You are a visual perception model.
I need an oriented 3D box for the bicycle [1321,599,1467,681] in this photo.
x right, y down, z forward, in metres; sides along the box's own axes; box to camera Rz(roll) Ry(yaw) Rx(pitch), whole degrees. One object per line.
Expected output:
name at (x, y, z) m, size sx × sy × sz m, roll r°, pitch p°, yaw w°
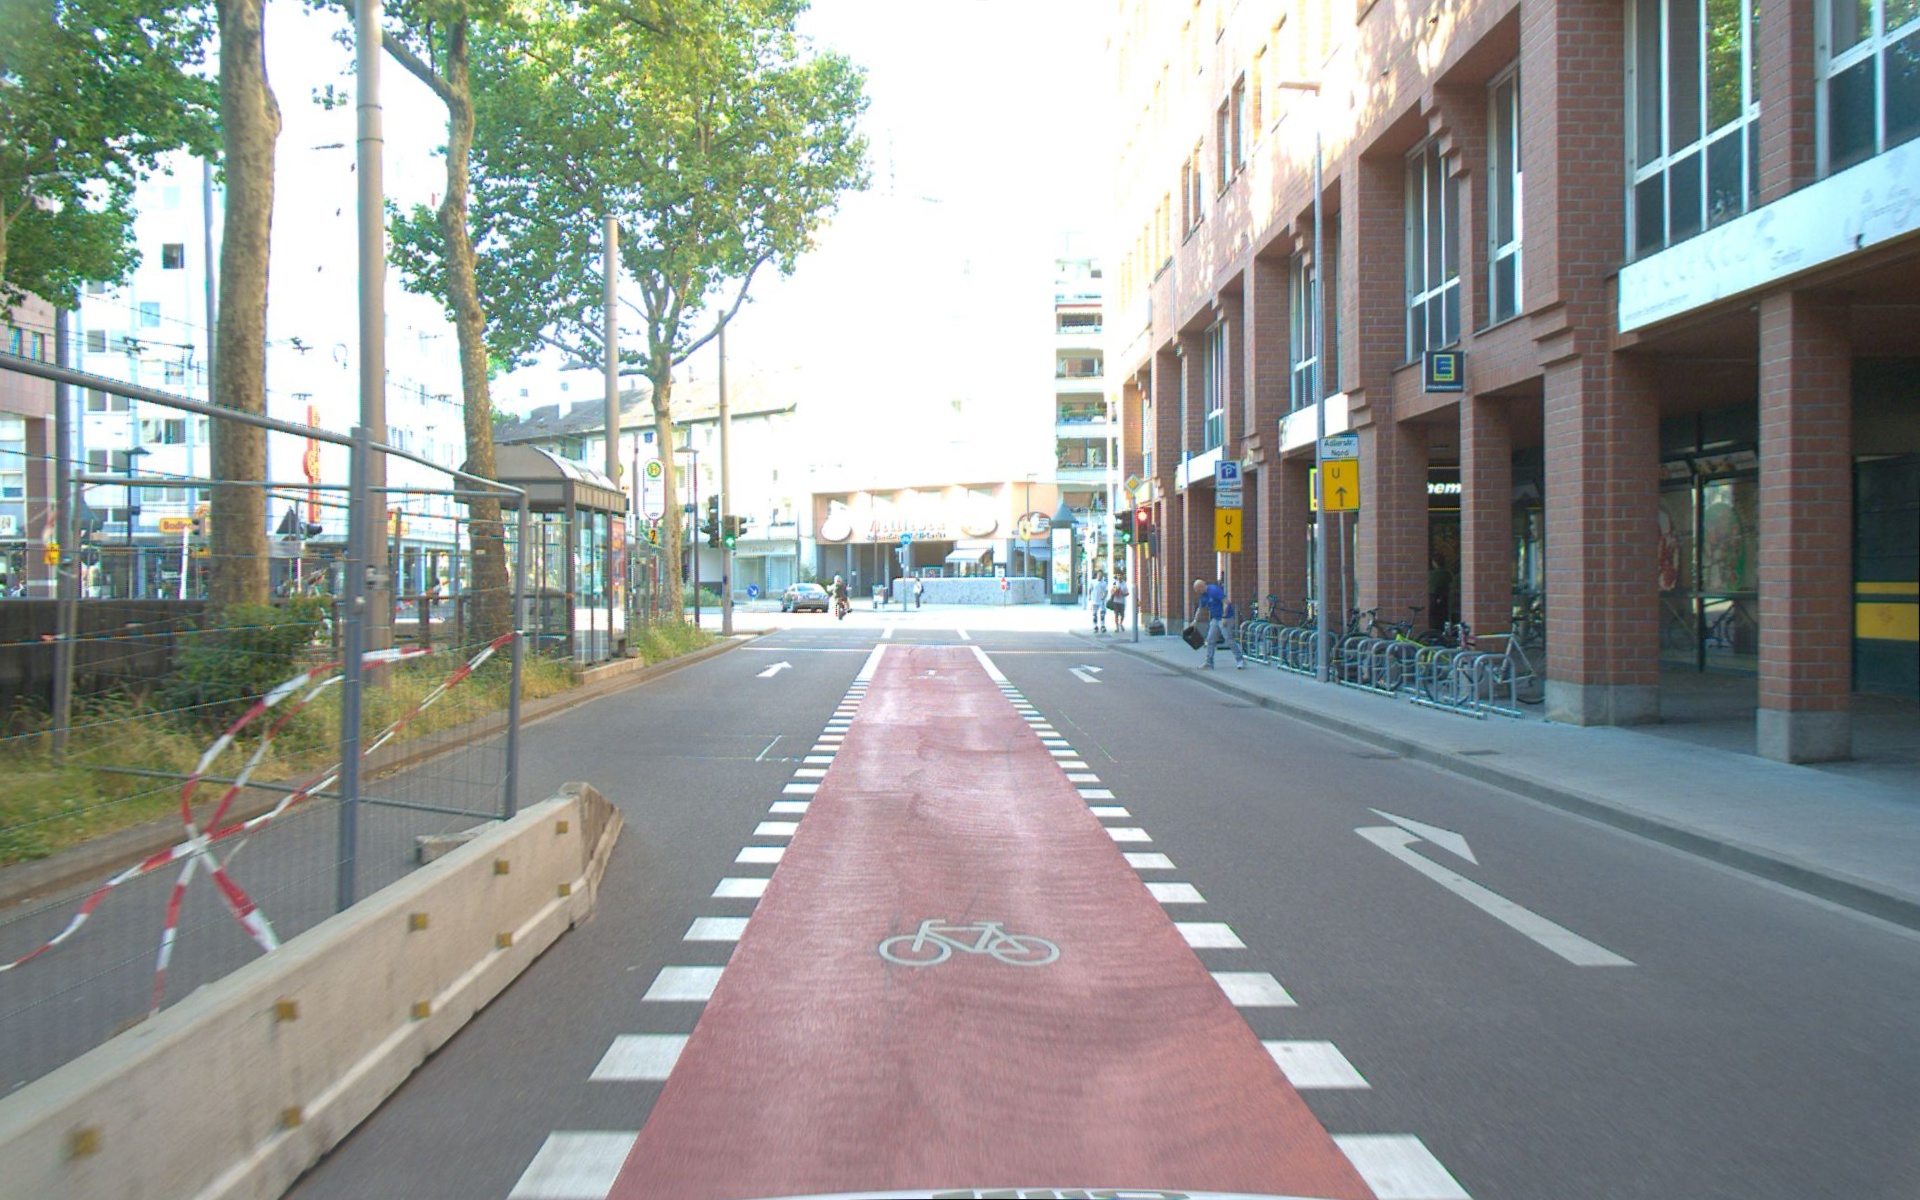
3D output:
bicycle at (6.145, 0.560, 23.459) m, size 1.893 × 1.075 × 0.573 m, roll -2°, pitch 0°, yaw 1°

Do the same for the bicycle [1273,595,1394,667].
bicycle at (6.081, 0.499, 26.950) m, size 1.853 × 1.138 × 0.474 m, roll -1°, pitch 0°, yaw -2°

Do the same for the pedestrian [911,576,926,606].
pedestrian at (-2.173, -0.472, 86.894) m, size 0.537 × 1.611 × 0.548 m, roll -1°, pitch 1°, yaw -44°

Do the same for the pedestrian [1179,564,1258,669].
pedestrian at (4.428, 0.266, 28.393) m, size 1.170 × 1.726 × 0.885 m, roll -2°, pitch 0°, yaw 1°

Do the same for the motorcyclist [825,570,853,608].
motorcyclist at (-4.456, -0.401, 61.069) m, size 0.951 × 1.370 × 1.137 m, roll 1°, pitch 0°, yaw -2°

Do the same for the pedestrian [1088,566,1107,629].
pedestrian at (4.002, -0.075, 48.155) m, size 0.466 × 1.824 × 0.541 m, roll 0°, pitch 0°, yaw -2°

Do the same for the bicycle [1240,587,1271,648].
bicycle at (6.036, 0.340, 33.831) m, size 0.332 × 1.204 × 1.678 m, roll 0°, pitch 1°, yaw 0°

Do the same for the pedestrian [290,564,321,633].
pedestrian at (-16.398, -0.040, 41.441) m, size 0.555 × 1.709 × 0.531 m, roll -1°, pitch 0°, yaw 0°

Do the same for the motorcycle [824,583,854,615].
motorcycle at (-4.453, -0.045, 61.025) m, size 0.953 × 1.151 × 2.804 m, roll 1°, pitch 0°, yaw -2°

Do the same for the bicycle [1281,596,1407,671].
bicycle at (6.067, 0.528, 26.152) m, size 1.853 × 1.138 × 0.550 m, roll -1°, pitch 0°, yaw -2°

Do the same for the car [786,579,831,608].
car at (-7.584, -0.336, 82.501) m, size 1.888 × 1.413 × 3.990 m, roll 0°, pitch 1°, yaw -10°

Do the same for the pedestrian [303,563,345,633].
pedestrian at (-16.302, -0.063, 42.407) m, size 0.762 × 1.764 × 0.848 m, roll -1°, pitch 0°, yaw -5°

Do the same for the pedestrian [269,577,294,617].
pedestrian at (-30.506, -0.135, 74.356) m, size 0.788 × 1.754 × 0.776 m, roll 0°, pitch 0°, yaw -1°

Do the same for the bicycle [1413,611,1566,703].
bicycle at (6.195, 0.663, 19.390) m, size 1.578 × 0.971 × 0.555 m, roll -3°, pitch 0°, yaw 0°

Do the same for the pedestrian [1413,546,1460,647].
pedestrian at (8.742, -0.066, 30.350) m, size 0.646 × 1.827 × 0.608 m, roll 0°, pitch 0°, yaw -6°

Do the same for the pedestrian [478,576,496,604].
pedestrian at (-29.889, -0.654, 104.551) m, size 0.762 × 1.754 × 0.803 m, roll 0°, pitch 0°, yaw 40°

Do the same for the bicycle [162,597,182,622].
bicycle at (-35.392, 0.404, 74.285) m, size 0.586 × 1.071 × 1.995 m, roll -1°, pitch 1°, yaw -19°

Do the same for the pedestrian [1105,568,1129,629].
pedestrian at (4.550, -0.034, 47.970) m, size 0.621 × 1.755 × 0.630 m, roll 0°, pitch 0°, yaw -2°

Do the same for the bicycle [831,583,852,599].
bicycle at (-8.070, -0.598, 112.564) m, size 1.611 × 1.056 × 0.492 m, roll 2°, pitch 0°, yaw 44°

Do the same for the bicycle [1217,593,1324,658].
bicycle at (5.677, 0.466, 30.295) m, size 1.853 × 1.138 × 0.474 m, roll -1°, pitch 0°, yaw -2°

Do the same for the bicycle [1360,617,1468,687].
bicycle at (6.070, 0.694, 22.139) m, size 1.306 × 0.856 × 0.425 m, roll -3°, pitch 0°, yaw 0°
